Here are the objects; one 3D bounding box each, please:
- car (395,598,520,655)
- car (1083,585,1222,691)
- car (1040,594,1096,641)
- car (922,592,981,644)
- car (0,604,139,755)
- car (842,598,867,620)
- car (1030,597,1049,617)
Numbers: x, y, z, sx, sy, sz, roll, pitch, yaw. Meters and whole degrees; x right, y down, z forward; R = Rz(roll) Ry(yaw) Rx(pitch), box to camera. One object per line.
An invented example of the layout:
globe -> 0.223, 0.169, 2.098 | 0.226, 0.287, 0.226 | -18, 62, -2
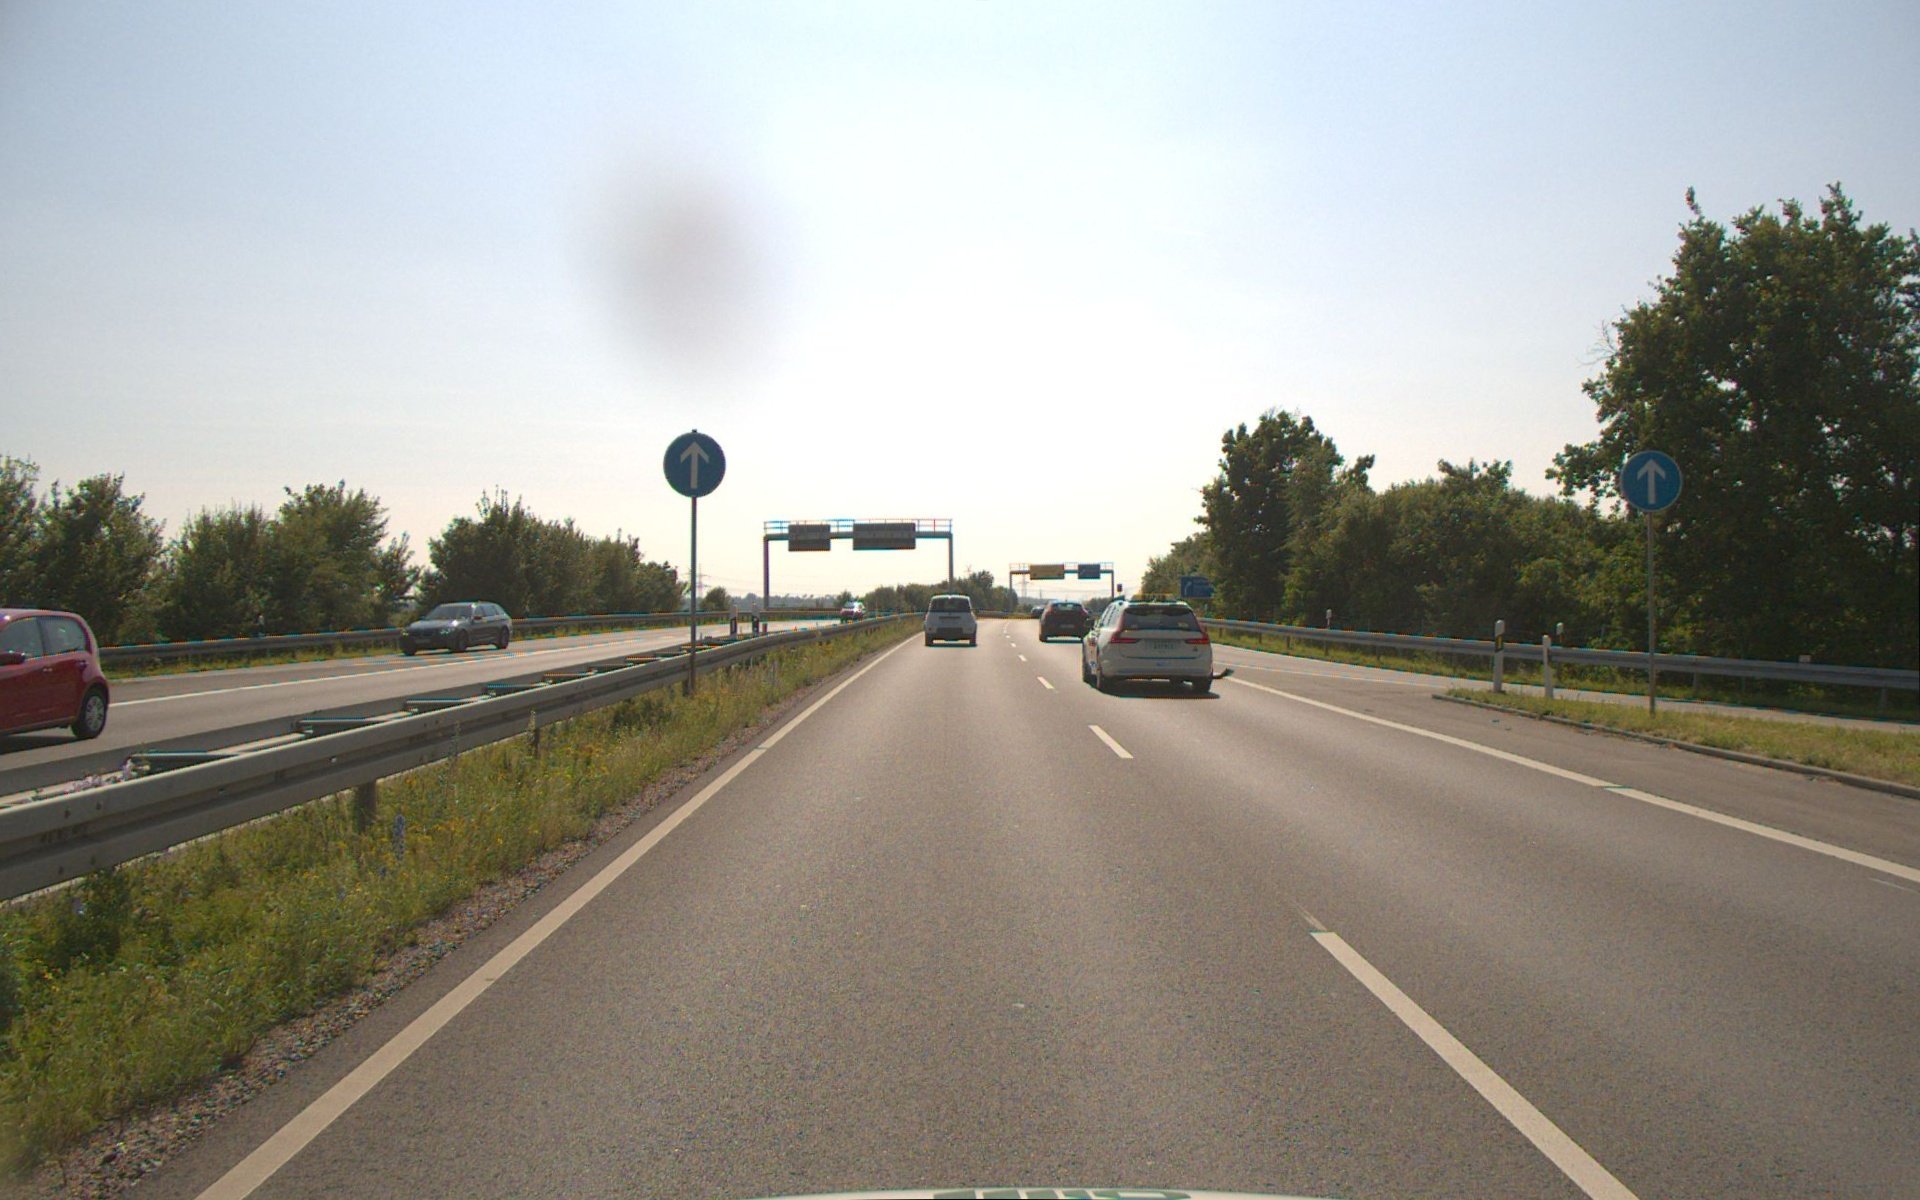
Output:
car -> -15.325, 0.772, 50.717 | 1.559, 1.520, 4.818 | -5, 0, 10
car -> 3.173, 0.609, 27.947 | 1.918, 1.629, 4.107 | 1, 0, 1
car -> 3.767, 0.622, 58.140 | 1.756, 1.570, 3.671 | 1, -1, 1
car -> -0.256, 0.603, 52.605 | 1.756, 1.530, 4.042 | -2, -2, 0
car -> -10.611, 0.829, 17.886 | 1.595, 1.483, 3.768 | -1, 1, -1
car -> -8.032, 0.659, 126.036 | 1.609, 1.602, 4.264 | 1, 0, 0
car -> 8.419, 0.789, 174.359 | 1.952, 2.049, 4.001 | 1, 0, 2
